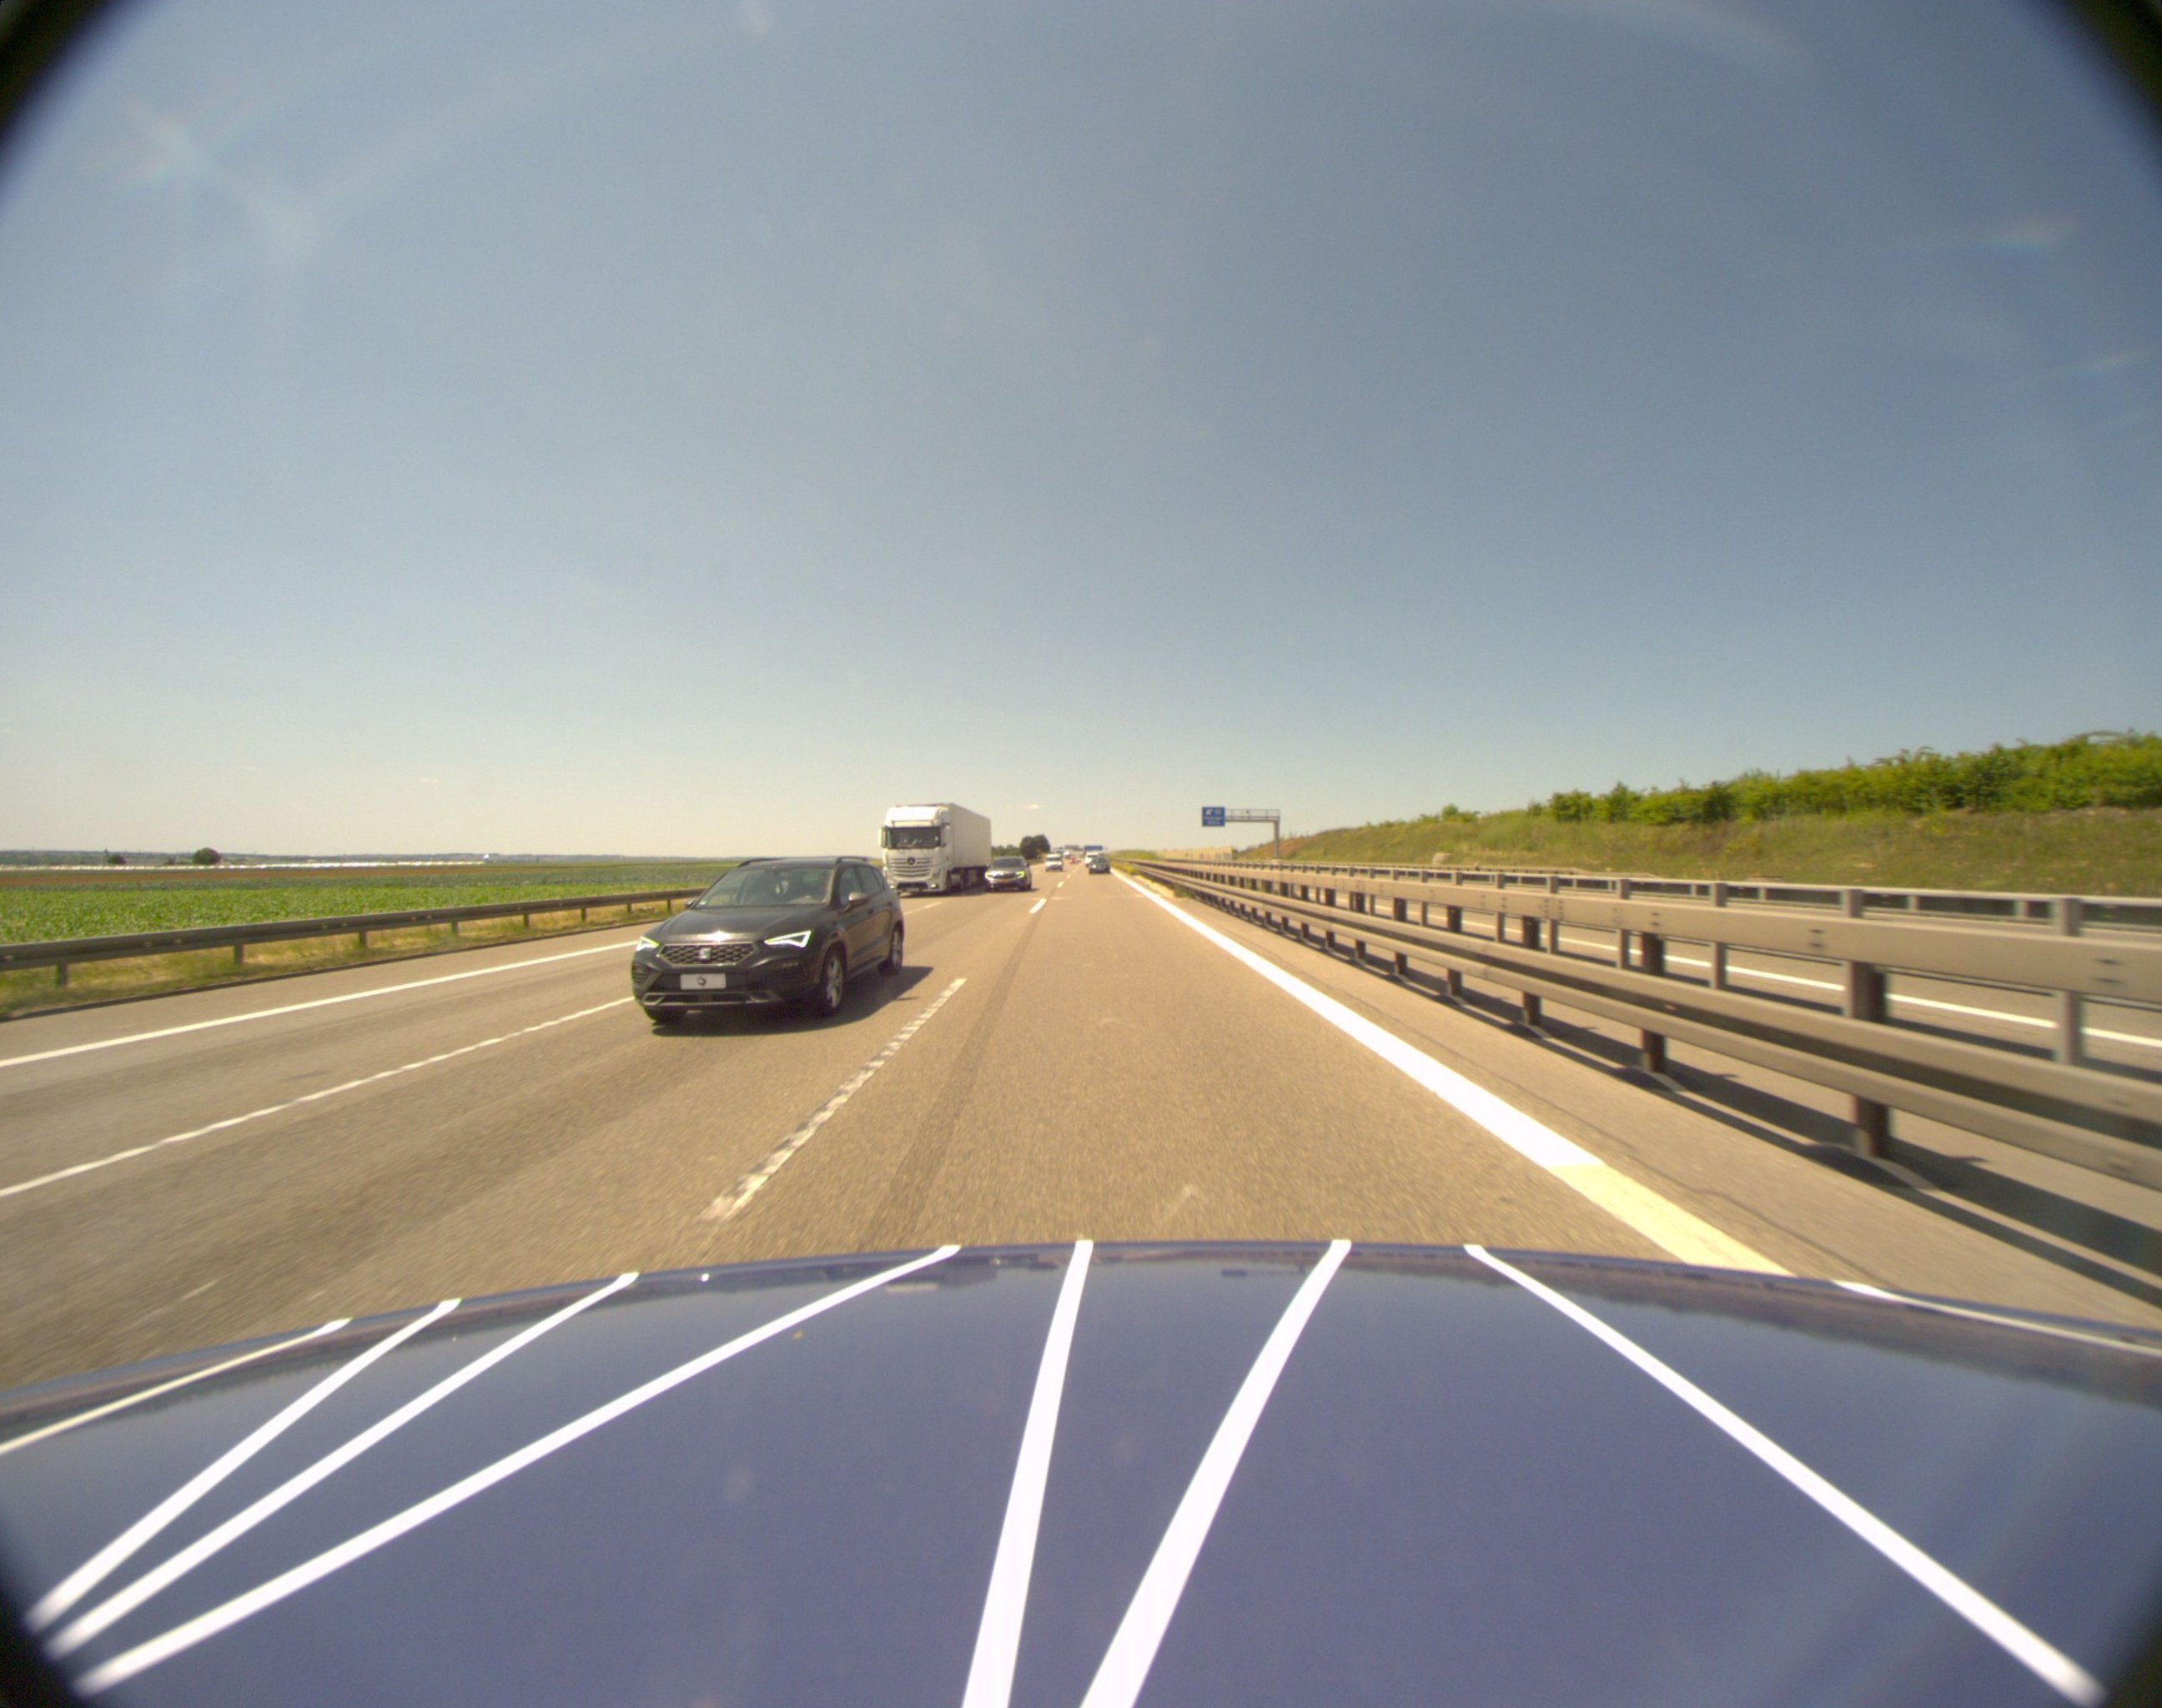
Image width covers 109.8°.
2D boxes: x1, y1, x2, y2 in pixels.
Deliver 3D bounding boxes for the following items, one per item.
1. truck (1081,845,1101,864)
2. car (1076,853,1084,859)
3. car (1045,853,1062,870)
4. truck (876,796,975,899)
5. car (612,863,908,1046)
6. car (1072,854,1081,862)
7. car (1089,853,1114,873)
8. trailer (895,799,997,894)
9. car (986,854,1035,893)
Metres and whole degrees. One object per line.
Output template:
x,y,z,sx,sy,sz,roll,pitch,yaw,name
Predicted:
1.331,0.083,104.180,2.334,2.378,6.685,-2,0,-2,truck
-0.235,0.474,195.305,1.724,1.514,3.581,-2,0,-2,car
-2.966,0.801,82.698,1.812,1.836,5.311,-1,0,-2,car
-6.788,-0.276,34.274,2.870,4.067,6.878,-2,0,0,truck
-3.392,0.950,8.917,1.801,1.553,3.823,-2,0,0,car
-1.028,0.866,163.613,1.723,1.514,3.582,-2,0,2,car
1.580,0.698,61.142,1.715,1.586,4.546,1,0,-2,car
-6.790,-0.368,40.865,2.875,4.195,13.293,-2,0,0,trailer
-3.225,0.867,35.558,1.856,1.638,4.645,-2,0,0,car
